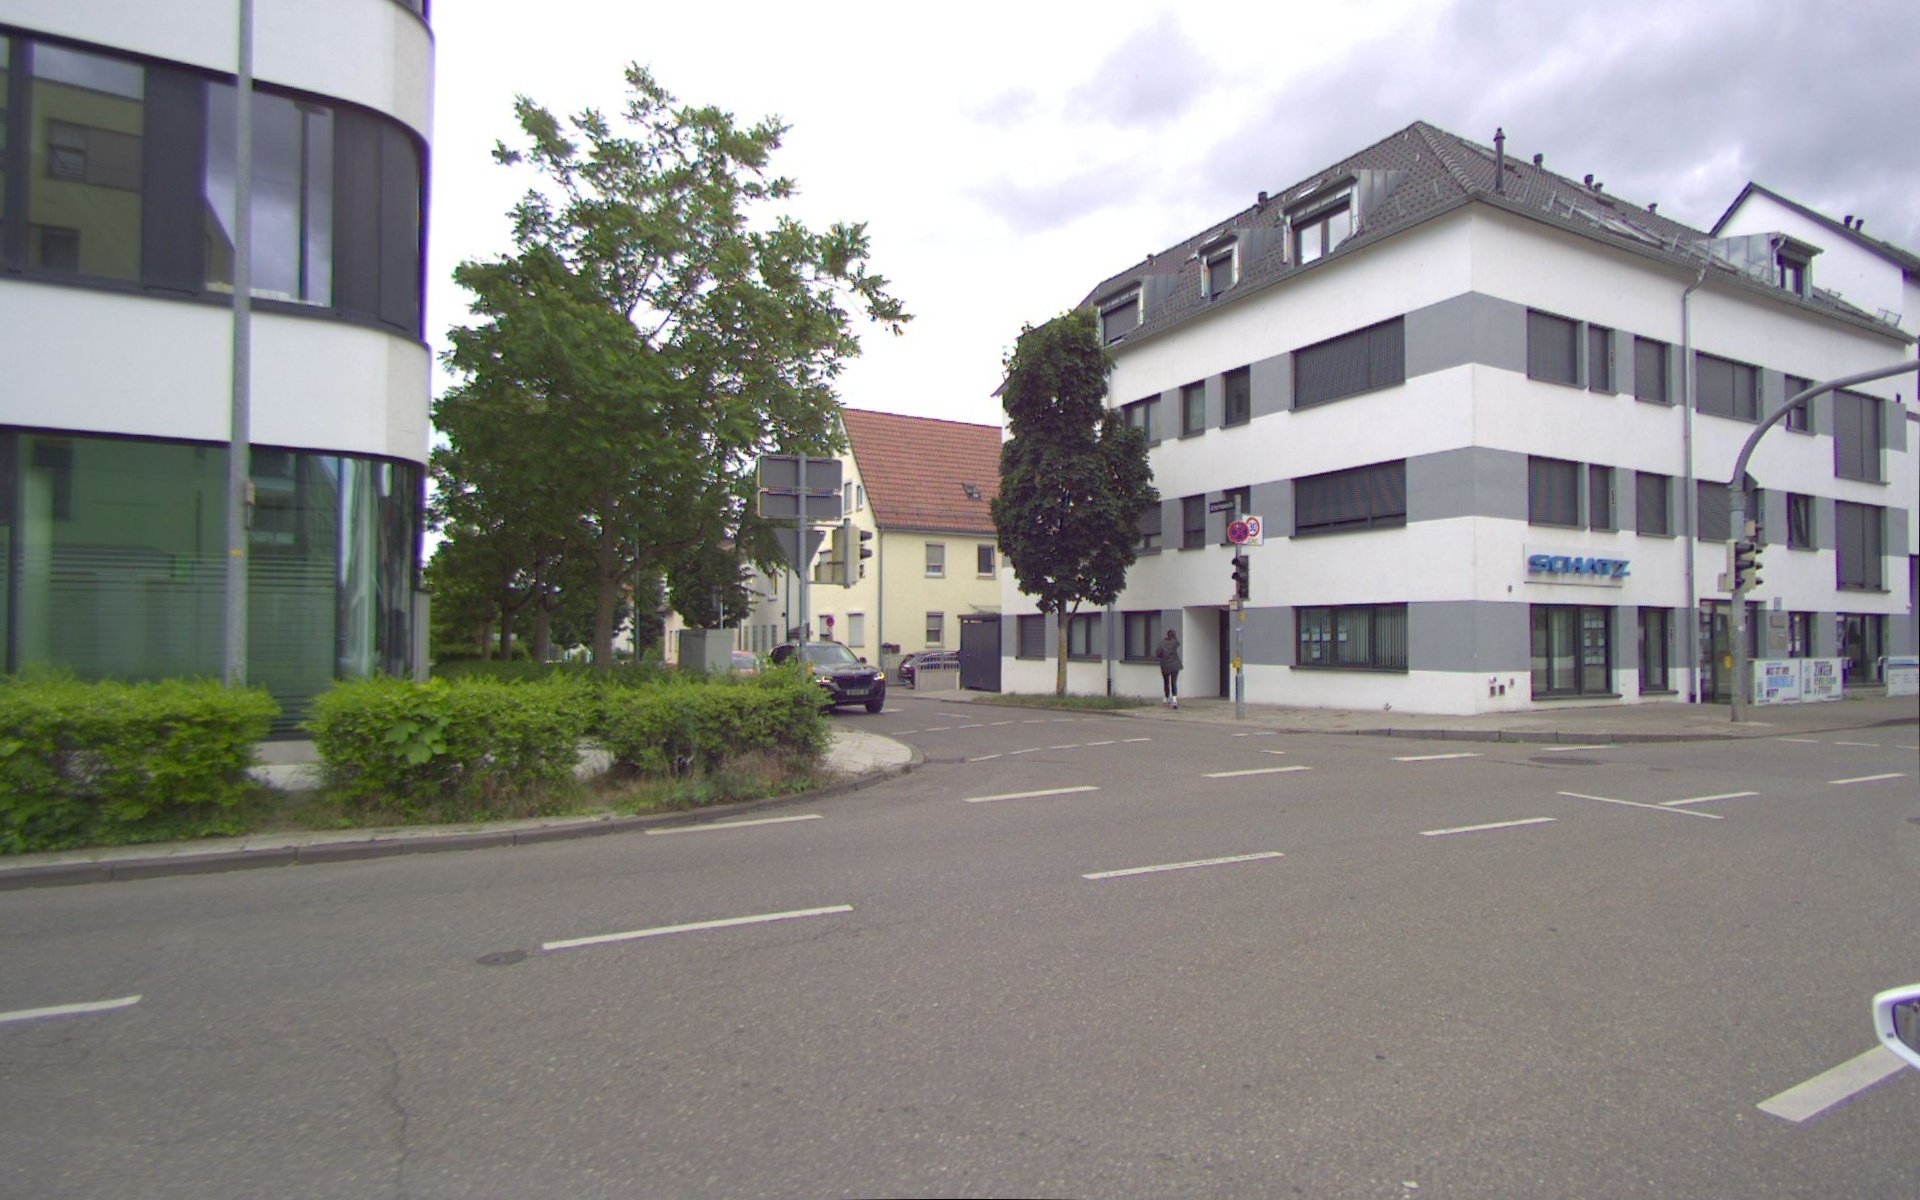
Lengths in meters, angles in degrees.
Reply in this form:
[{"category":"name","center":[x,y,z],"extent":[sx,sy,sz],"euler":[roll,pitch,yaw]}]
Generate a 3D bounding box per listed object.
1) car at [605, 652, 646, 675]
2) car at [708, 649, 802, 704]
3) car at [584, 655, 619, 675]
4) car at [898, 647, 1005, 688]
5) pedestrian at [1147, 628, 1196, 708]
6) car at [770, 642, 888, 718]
[{"category":"car","center":[-24.770,4.711,74.380],"extent":[1.892,1.552,3.964],"euler":[1,-4,-34]},{"category":"car","center":[-6.319,2.296,30.649],"extent":[1.665,1.547,3.970],"euler":[1,-3,-30]},{"category":"car","center":[-29.715,5.402,83.191],"extent":[1.892,1.552,3.964],"euler":[1,-4,-34]},{"category":"car","center":[-0.321,2.662,39.968],"extent":[3.952,1.547,1.672],"euler":[1,-3,-30]},{"category":"pedestrian","center":[4.666,1.481,22.175],"extent":[0.867,1.692,0.814],"euler":[-2,0,0]},{"category":"car","center":[-3.184,1.839,23.791],"extent":[1.883,1.552,3.983],"euler":[-2,-3,-21]}]
